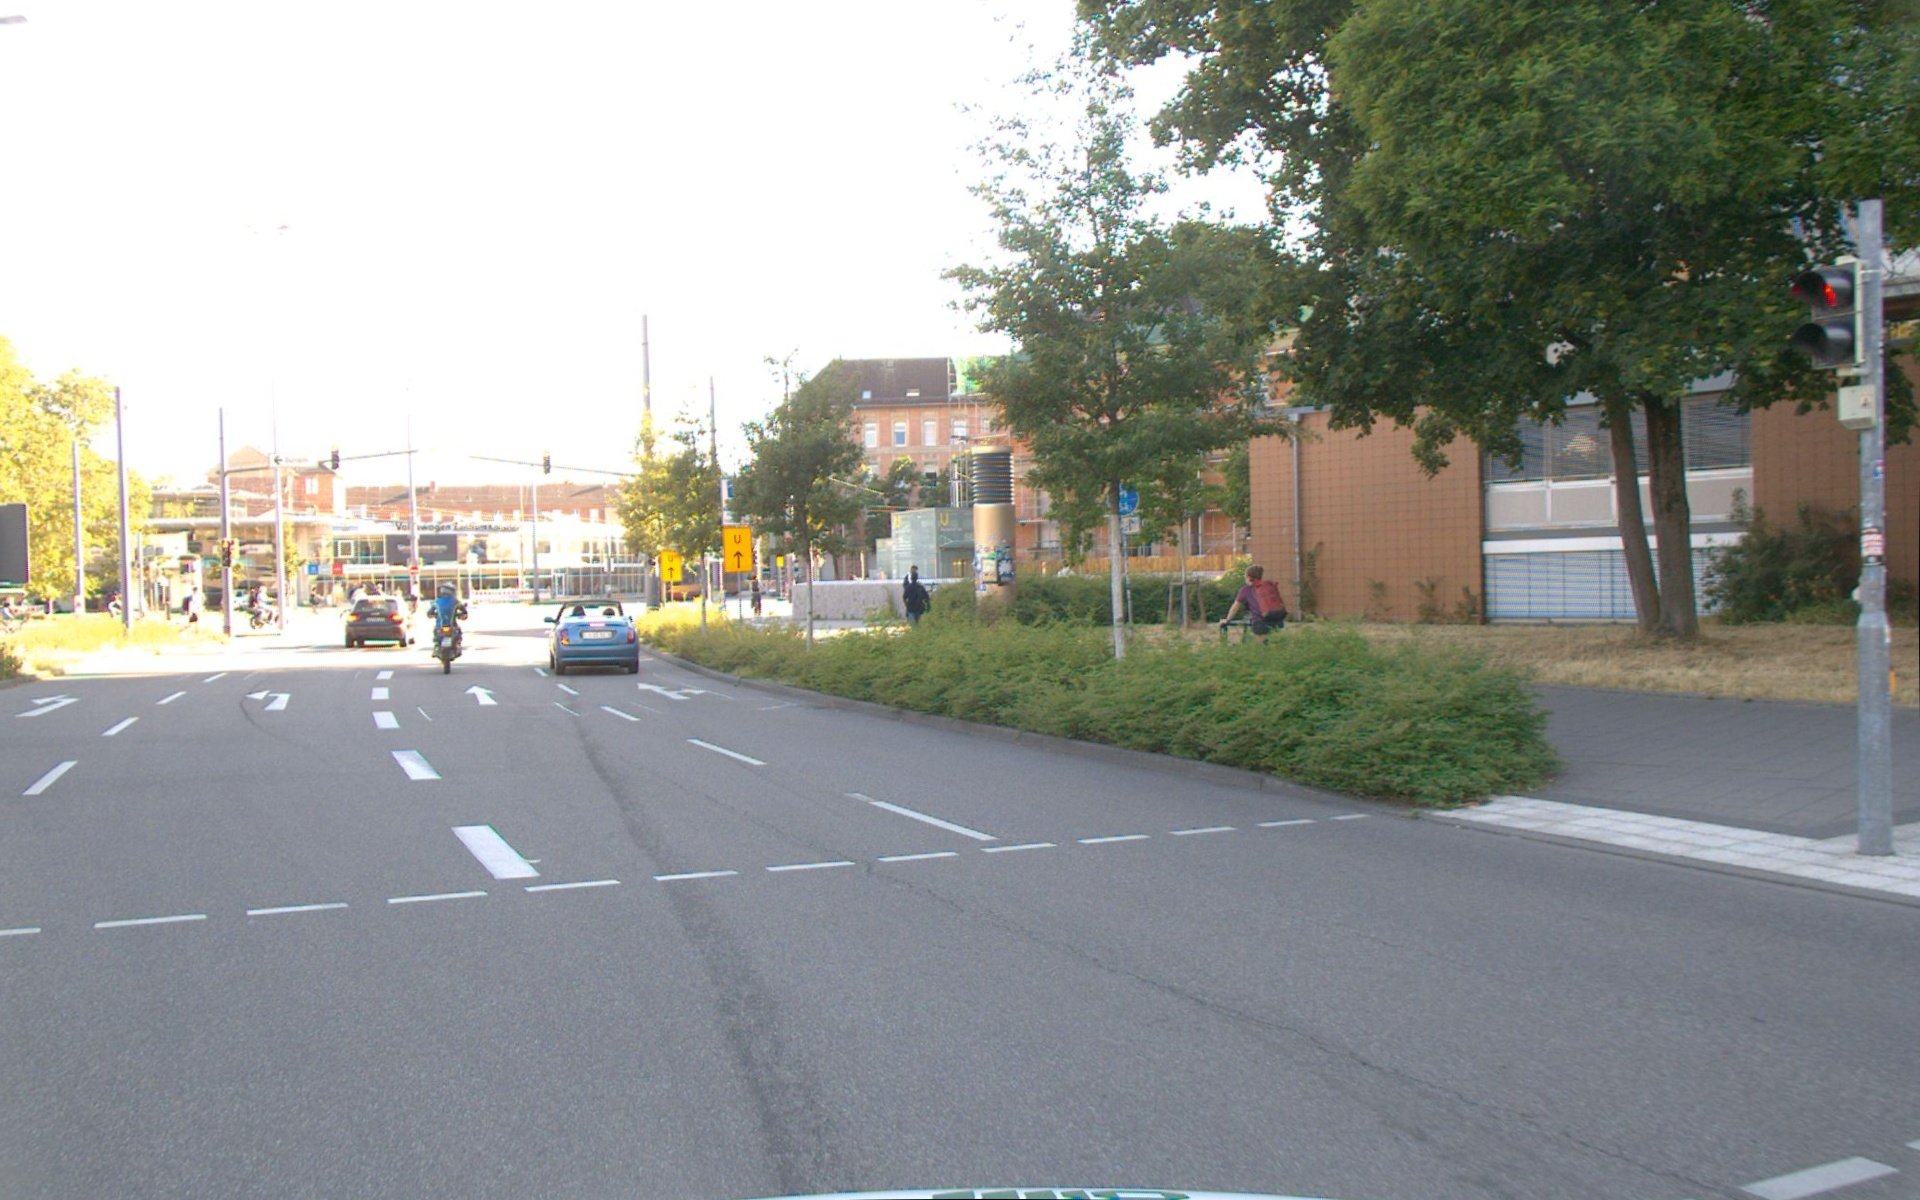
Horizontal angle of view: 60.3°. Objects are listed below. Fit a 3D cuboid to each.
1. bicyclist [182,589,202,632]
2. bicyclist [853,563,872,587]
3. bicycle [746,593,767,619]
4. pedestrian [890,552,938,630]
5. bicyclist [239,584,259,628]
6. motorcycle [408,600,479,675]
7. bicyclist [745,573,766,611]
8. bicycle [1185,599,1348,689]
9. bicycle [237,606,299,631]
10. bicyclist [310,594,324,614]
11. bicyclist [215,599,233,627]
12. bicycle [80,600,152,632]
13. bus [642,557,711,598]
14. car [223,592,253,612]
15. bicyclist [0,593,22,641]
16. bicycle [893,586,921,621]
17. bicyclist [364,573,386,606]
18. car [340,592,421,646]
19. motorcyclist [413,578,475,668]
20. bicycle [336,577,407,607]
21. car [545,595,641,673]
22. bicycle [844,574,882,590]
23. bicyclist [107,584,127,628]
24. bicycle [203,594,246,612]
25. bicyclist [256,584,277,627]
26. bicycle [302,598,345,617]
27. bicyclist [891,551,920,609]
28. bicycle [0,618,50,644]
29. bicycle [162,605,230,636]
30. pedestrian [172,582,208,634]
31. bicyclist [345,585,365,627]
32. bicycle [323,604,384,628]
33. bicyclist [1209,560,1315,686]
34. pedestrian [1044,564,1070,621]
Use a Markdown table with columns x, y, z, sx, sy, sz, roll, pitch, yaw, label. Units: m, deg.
| x | y | z | sx | sy | sz | roll | pitch | yaw | label |
| --- | --- | --- | --- | --- | --- | --- | --- | --- | --- |
| -31.612 | 0.430 | 68.056 | 0.643 | 1.720 | 0.851 | -1 | 2 | -31 | bicyclist |
| -6.618 | -1.701 | 112.027 | 0.913 | 1.586 | 0.954 | -2 | 1 | -29 | bicyclist |
| -8.889 | 0.250 | 72.334 | 0.774 | 1.057 | 1.961 | -3 | 0 | -5 | bicycle |
| -1.026 | -0.199 | 36.769 | 0.795 | 1.687 | 0.785 | -2 | 1 | -23 | pedestrian |
| -29.244 | 0.251 | 68.032 | 0.577 | 1.809 | 0.857 | -2 | 1 | -32 | bicyclist |
| -10.251 | 0.713 | 32.942 | 1.077 | 1.401 | 2.645 | -1 | 0 | -12 | motorcycle |
| -8.947 | -0.342 | 72.377 | 0.774 | 1.621 | 0.946 | -3 | 0 | -5 | bicyclist |
| 3.472 | 0.495 | 18.969 | 0.710 | 0.969 | 2.232 | 0 | -1 | -24 | bicycle |
| -28.626 | 0.761 | 68.433 | 2.275 | 0.921 | 0.850 | -2 | 3 | -33 | bicycle |
| -37.763 | 0.221 | 97.122 | 0.704 | 1.162 | 0.830 | -1 | 2 | -27 | bicyclist |
| -43.204 | 0.776 | 97.048 | 0.912 | 1.586 | 0.853 | -1 | 2 | -26 | bicyclist |
| -33.307 | 0.634 | 65.286 | 2.461 | 1.153 | 0.853 | -1 | 2 | -25 | bicycle |
| -21.755 | -1.804 | 127.490 | 2.304 | 2.933 | 9.589 | 0 | 2 | 9 | bus |
| -60.969 | 0.150 | 139.686 | 1.963 | 1.561 | 3.979 | -1 | 2 | -19 | car |
| -35.627 | 0.635 | 62.008 | 0.739 | 1.720 | 0.850 | -1 | 2 | -34 | bicyclist |
| -1.727 | 0.108 | 53.599 | 0.774 | 1.057 | 1.961 | -3 | 0 | -5 | bicycle |
| -35.931 | -0.651 | 101.565 | 1.059 | 1.933 | 1.111 | -1 | 2 | -31 | bicyclist |
| -16.722 | 0.522 | 47.893 | 1.770 | 1.469 | 3.965 | 0 | 0 | -13 | car |
| -10.248 | 0.456 | 32.893 | 1.077 | 1.751 | 0.934 | -1 | 0 | -12 | motorcyclist |
| -36.082 | -0.508 | 101.464 | 3.948 | 1.719 | 1.127 | -2 | 2 | -32 | bicycle |
| -7.415 | 0.638 | 33.734 | 1.768 | 1.469 | 3.968 | 0 | 0 | -11 | car |
| -6.570 | -1.210 | 112.056 | 2.411 | 1.021 | 0.954 | -2 | 1 | -29 | bicycle |
| -33.282 | 0.234 | 65.287 | 0.641 | 1.720 | 0.854 | -1 | 2 | -24 | bicyclist |
| -43.157 | 0.157 | 97.052 | 2.267 | 0.996 | 0.853 | -1 | 2 | -25 | bicycle |
| -28.681 | 0.230 | 68.378 | 0.643 | 1.720 | 0.851 | -1 | 2 | -32 | bicyclist |
| -37.458 | 0.450 | 97.281 | 2.268 | 0.976 | 0.853 | -3 | 4 | -26 | bicycle |
| -1.768 | -0.630 | 53.546 | 0.771 | 1.817 | 0.893 | -3 | 0 | -5 | bicyclist |
| -35.602 | 1.172 | 62.044 | 2.472 | 0.889 | 0.850 | -2 | 3 | -35 | bicycle |
| -31.480 | 0.840 | 68.141 | 2.468 | 1.153 | 0.851 | -2 | 2 | -32 | bicycle |
| -25.801 | 0.264 | 55.409 | 0.685 | 1.701 | 0.825 | -1 | 1 | 38 | pedestrian |
| -25.123 | 0.233 | 68.647 | 0.642 | 1.720 | 0.852 | -1 | 2 | -28 | bicyclist |
| -25.161 | 0.664 | 68.638 | 2.270 | 0.921 | 0.852 | -1 | 2 | -29 | bicycle |
| 3.454 | 0.262 | 19.006 | 0.710 | 1.409 | 1.067 | 0 | -1 | -24 | bicyclist |
| 2.901 | -0.229 | 49.309 | 0.708 | 1.688 | 0.718 | 1 | 0 | 6 | pedestrian |
